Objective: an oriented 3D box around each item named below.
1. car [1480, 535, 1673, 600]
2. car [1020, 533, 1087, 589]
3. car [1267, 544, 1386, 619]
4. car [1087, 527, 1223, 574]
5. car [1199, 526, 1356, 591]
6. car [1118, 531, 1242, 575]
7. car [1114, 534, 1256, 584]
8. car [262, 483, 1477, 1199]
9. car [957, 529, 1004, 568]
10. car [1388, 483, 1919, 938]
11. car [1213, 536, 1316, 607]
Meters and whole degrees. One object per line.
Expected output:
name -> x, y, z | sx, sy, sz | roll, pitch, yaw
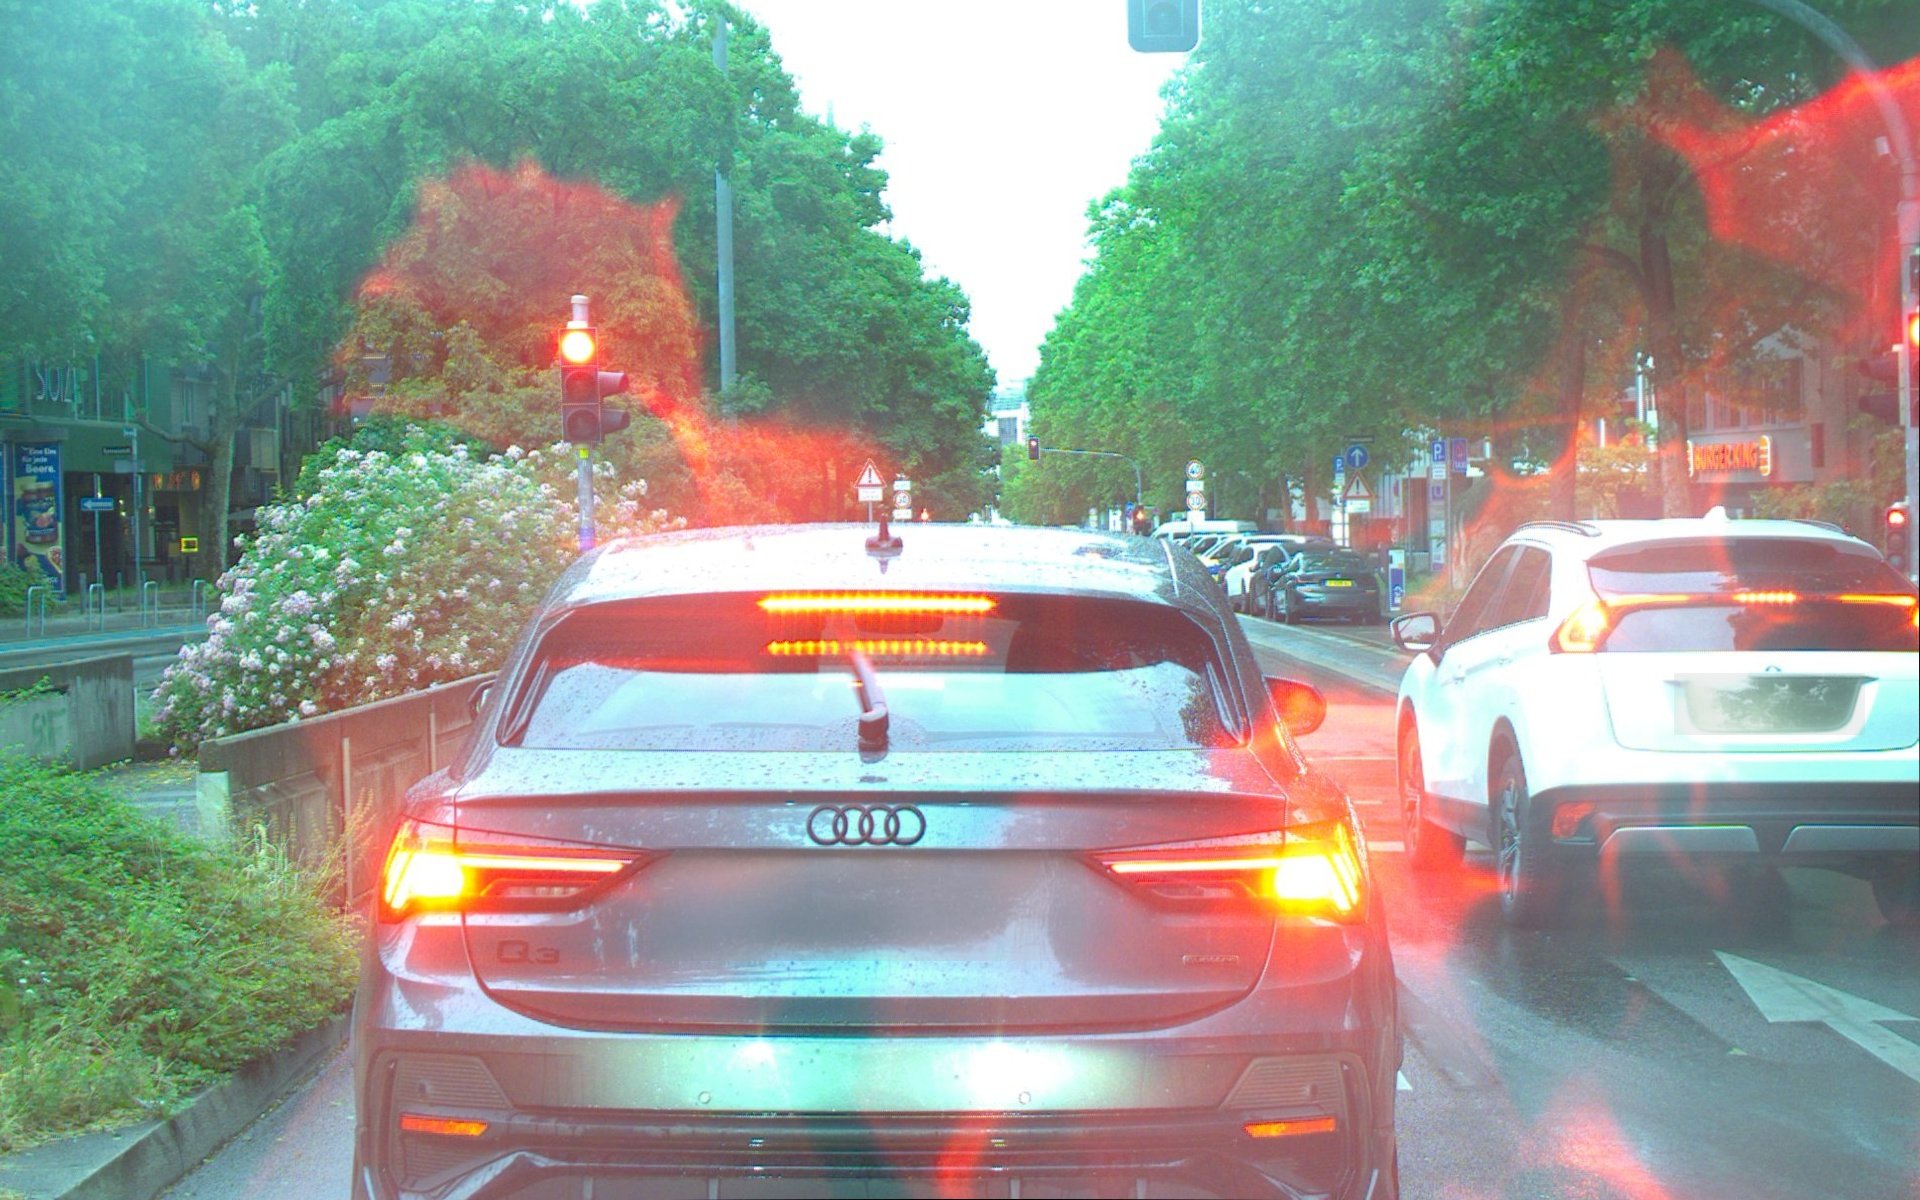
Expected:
car -> 10.510, -0.558, 58.632 | 2.889, 1.071, 1.453 | 1, 0, 32
car -> 2.960, -1.231, 109.826 | 1.993, 1.721, 4.000 | 1, 0, 0
car -> 7.267, -0.392, 68.525 | 1.873, 1.416, 4.611 | 1, 1, 0
car -> 7.249, -1.842, 127.928 | 4.646, 1.700, 1.997 | 1, 0, 28
car -> 10.049, -1.326, 108.891 | 4.602, 2.007, 1.964 | 1, 0, 39
car -> 9.001, -1.924, 140.597 | 4.646, 1.700, 1.997 | 1, 0, 28
car -> 8.062, -1.477, 123.221 | 4.646, 1.700, 1.997 | 1, 0, 28
car -> -0.162, 0.590, 7.243 | 1.849, 1.596, 4.000 | 0, 1, -1
car -> 0.854, -2.194, 145.870 | 1.896, 1.593, 3.939 | 1, 0, -1
car -> 3.055, 0.406, 14.955 | 1.878, 1.691, 4.000 | 1, 0, 0
car -> 7.000, -0.651, 79.301 | 1.727, 1.566, 4.074 | 1, 0, -4
